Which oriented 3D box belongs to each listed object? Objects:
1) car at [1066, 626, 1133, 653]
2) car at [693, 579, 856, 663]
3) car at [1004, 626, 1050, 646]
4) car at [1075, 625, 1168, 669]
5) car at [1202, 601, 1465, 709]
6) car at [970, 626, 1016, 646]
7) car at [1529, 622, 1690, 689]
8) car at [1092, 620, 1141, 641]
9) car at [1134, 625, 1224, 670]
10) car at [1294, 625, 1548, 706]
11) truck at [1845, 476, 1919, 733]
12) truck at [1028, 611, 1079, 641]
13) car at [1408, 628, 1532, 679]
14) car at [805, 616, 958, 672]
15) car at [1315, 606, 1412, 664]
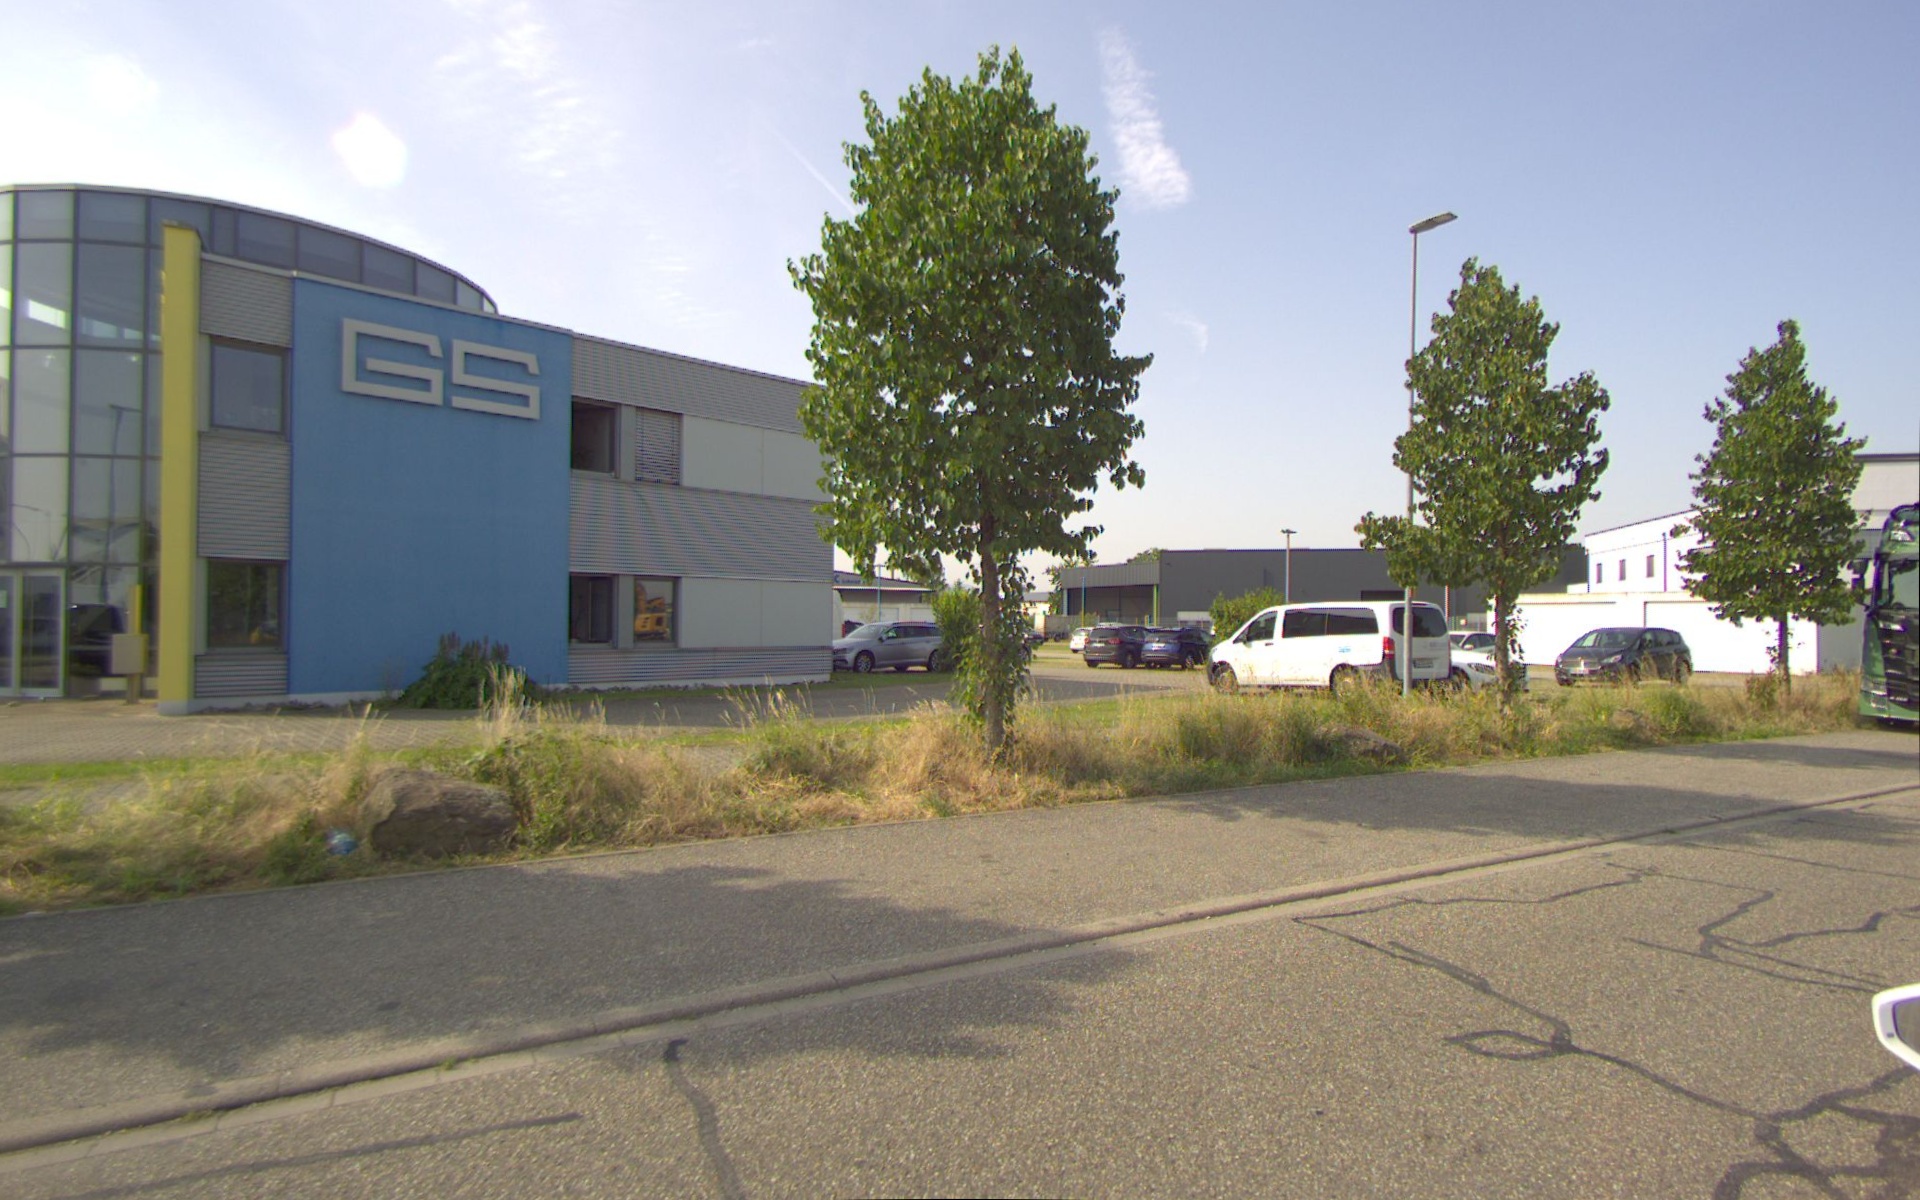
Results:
[{"bbox_3d":[8.090,2.302,58.099,4.120,1.500,1.560,3,-2,-42],"label":"car"},{"bbox_3d":[-6.378,0.780,35.179,1.686,2.730,5.720,0,-2,43],"label":"car"},{"bbox_3d":[4.882,2.637,74.161,1.578,1.327,3.972,1,-1,-27],"label":"car"},{"bbox_3d":[6.089,1.734,37.565,1.938,1.505,3.989,0,-2,33],"label":"car"},{"bbox_3d":[7.219,0.990,19.953,2.078,1.860,4.683,1,-1,-29],"label":"car"},{"bbox_3d":[2.375,2.607,72.741,1.578,1.327,3.972,1,-1,-27],"label":"car"},{"bbox_3d":[17.921,1.480,27.668,4.647,1.709,1.983,1,-2,-32],"label":"car"},{"bbox_3d":[13.831,2.716,88.586,3.948,1.792,1.859,1,-1,-27],"label":"car"},{"bbox_3d":[7.905,1.671,36.015,1.818,1.505,3.989,0,-2,33],"label":"car"},{"bbox_3d":[9.572,1.292,21.298,1.974,1.450,4.710,1,-1,-27],"label":"car"},{"bbox_3d":[19.102,0.227,17.456,9.685,3.933,2.444,2,0,-29],"label":"truck"},{"bbox_3d":[8.002,2.215,85.850,3.946,2.547,1.988,1,-1,-25],"label":"truck"},{"bbox_3d":[16.511,1.700,32.471,4.166,1.536,1.696,2,-2,-32],"label":"car"},{"bbox_3d":[-2.186,1.273,28.995,1.558,1.500,4.498,0,-2,44],"label":"car"},{"bbox_3d":[18.972,1.670,47.097,5.419,2.580,2.033,3,-2,-42],"label":"car"}]
